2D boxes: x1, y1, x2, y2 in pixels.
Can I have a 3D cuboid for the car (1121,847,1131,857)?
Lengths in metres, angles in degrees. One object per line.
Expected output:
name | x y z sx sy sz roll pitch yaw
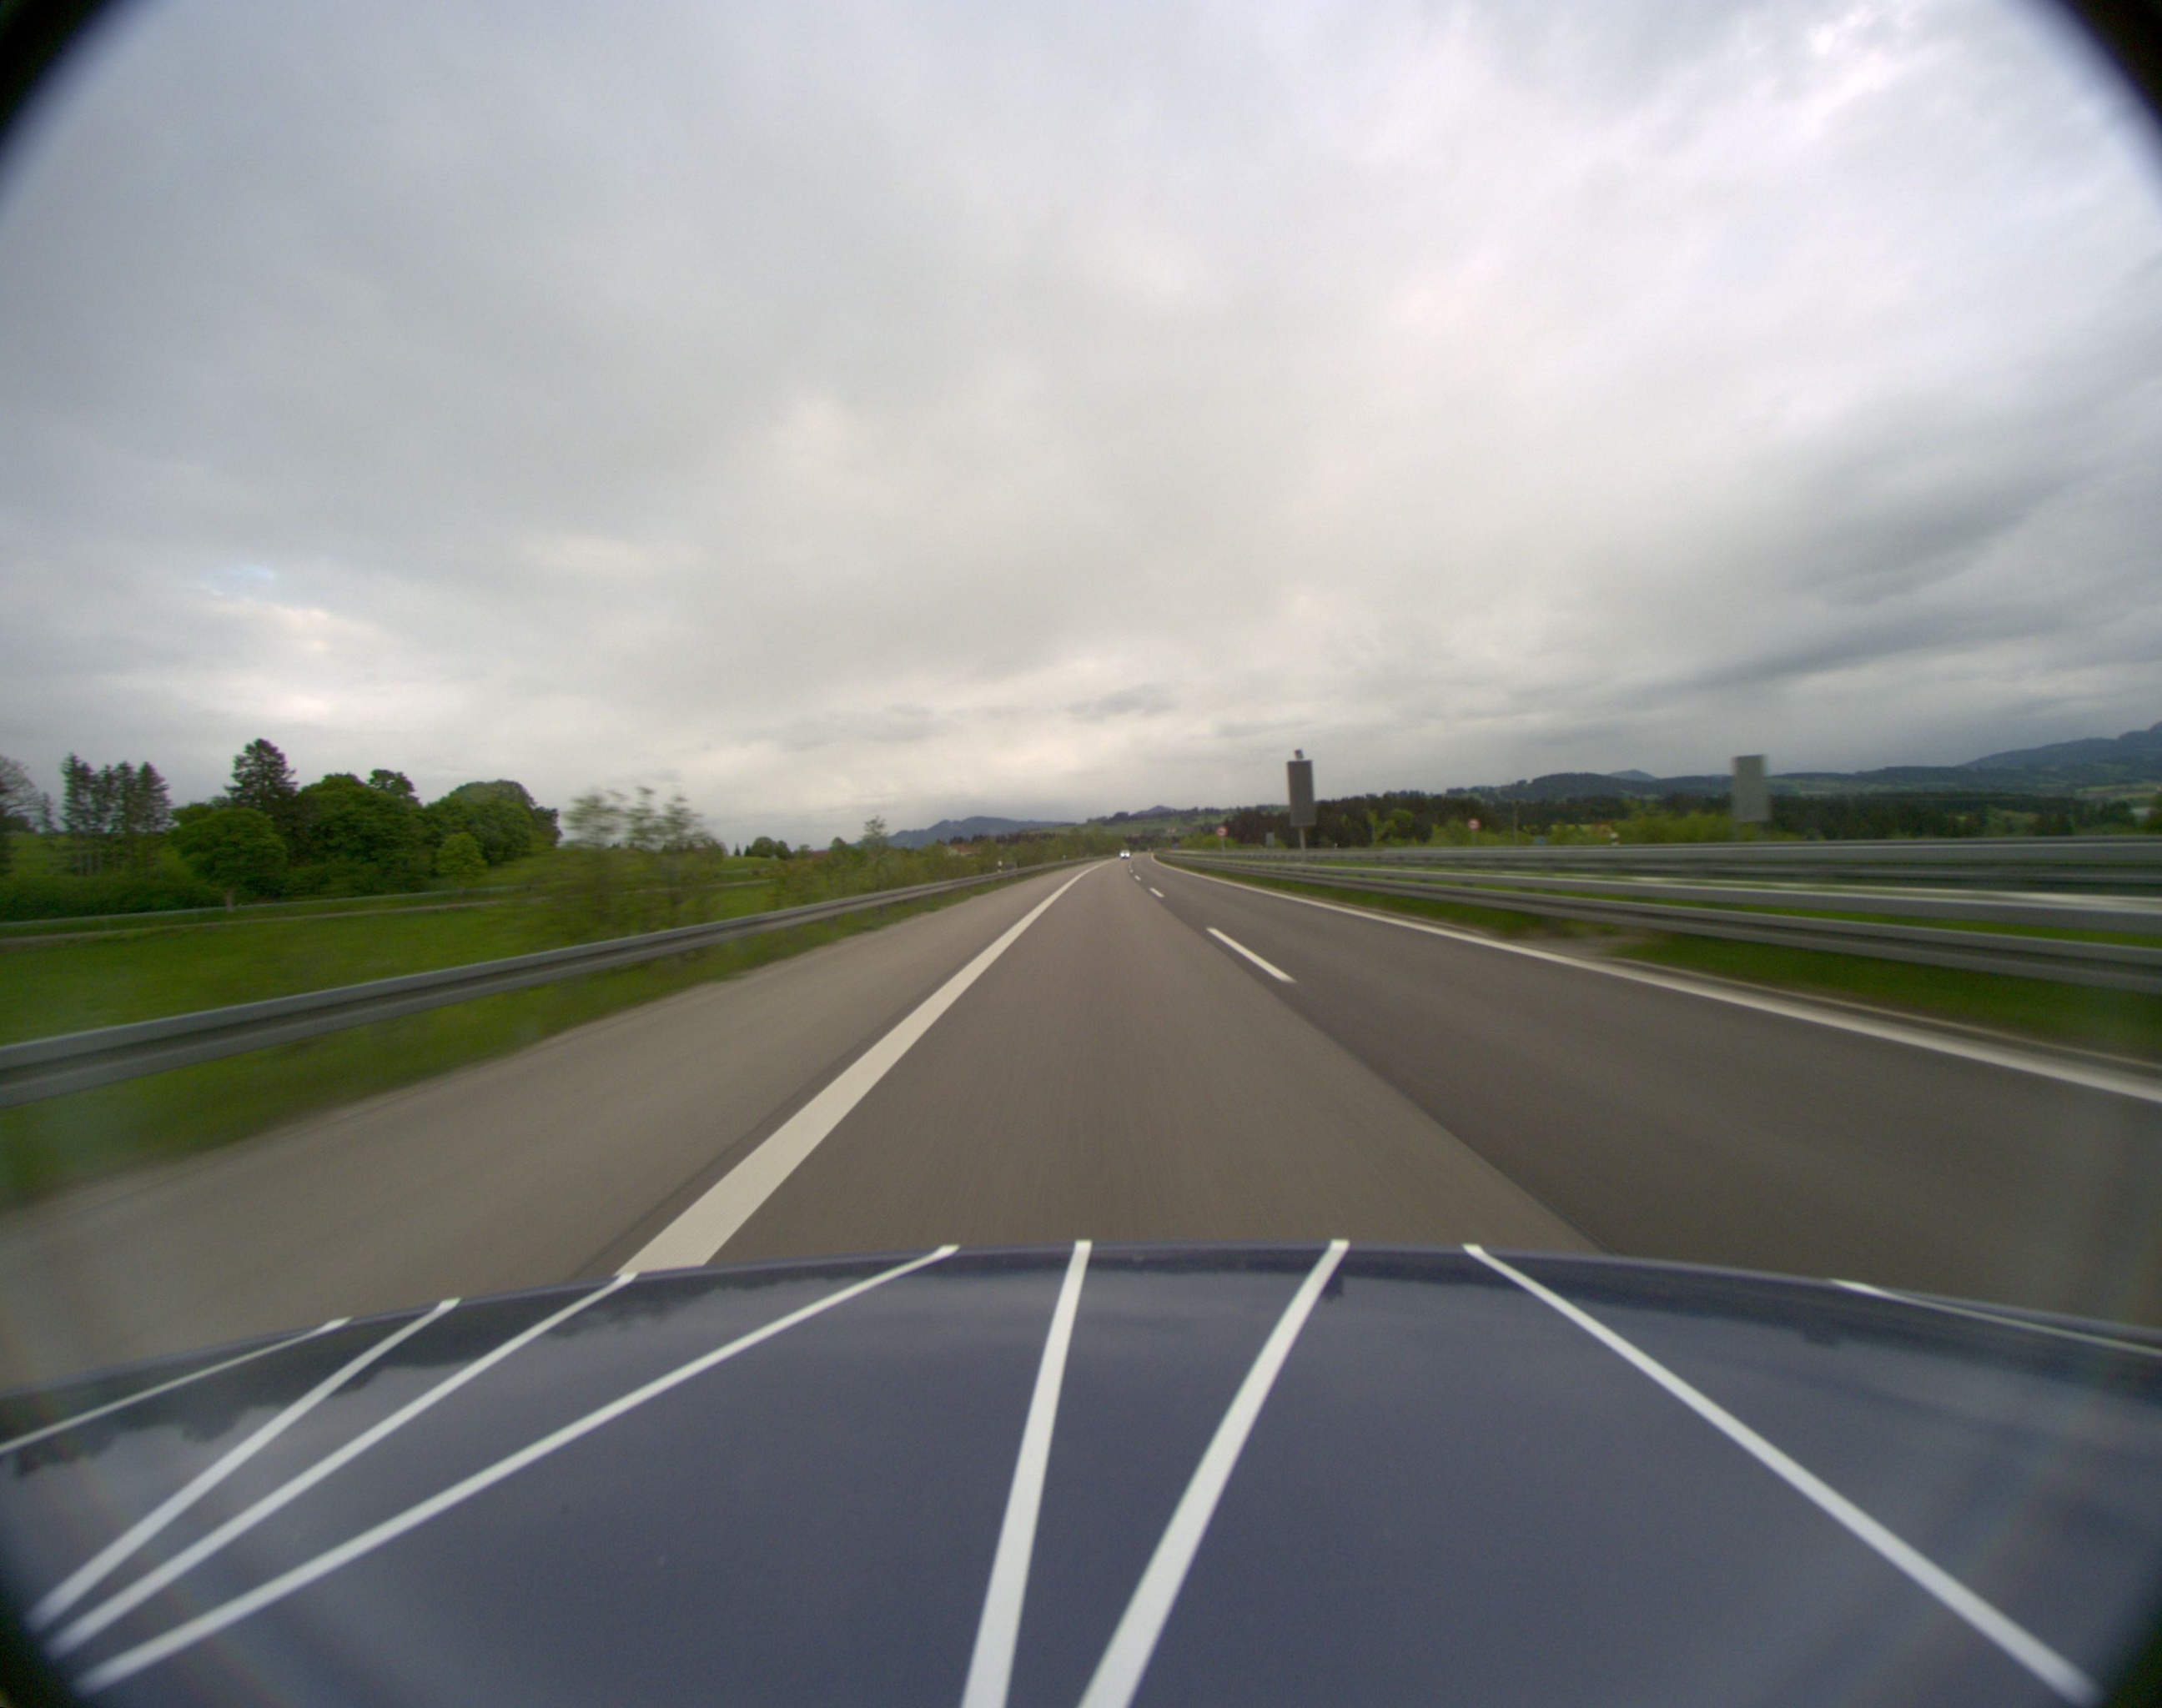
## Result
car | 9.709 -0.422 164.086 2.020 1.899 4.222 -2 0 6
